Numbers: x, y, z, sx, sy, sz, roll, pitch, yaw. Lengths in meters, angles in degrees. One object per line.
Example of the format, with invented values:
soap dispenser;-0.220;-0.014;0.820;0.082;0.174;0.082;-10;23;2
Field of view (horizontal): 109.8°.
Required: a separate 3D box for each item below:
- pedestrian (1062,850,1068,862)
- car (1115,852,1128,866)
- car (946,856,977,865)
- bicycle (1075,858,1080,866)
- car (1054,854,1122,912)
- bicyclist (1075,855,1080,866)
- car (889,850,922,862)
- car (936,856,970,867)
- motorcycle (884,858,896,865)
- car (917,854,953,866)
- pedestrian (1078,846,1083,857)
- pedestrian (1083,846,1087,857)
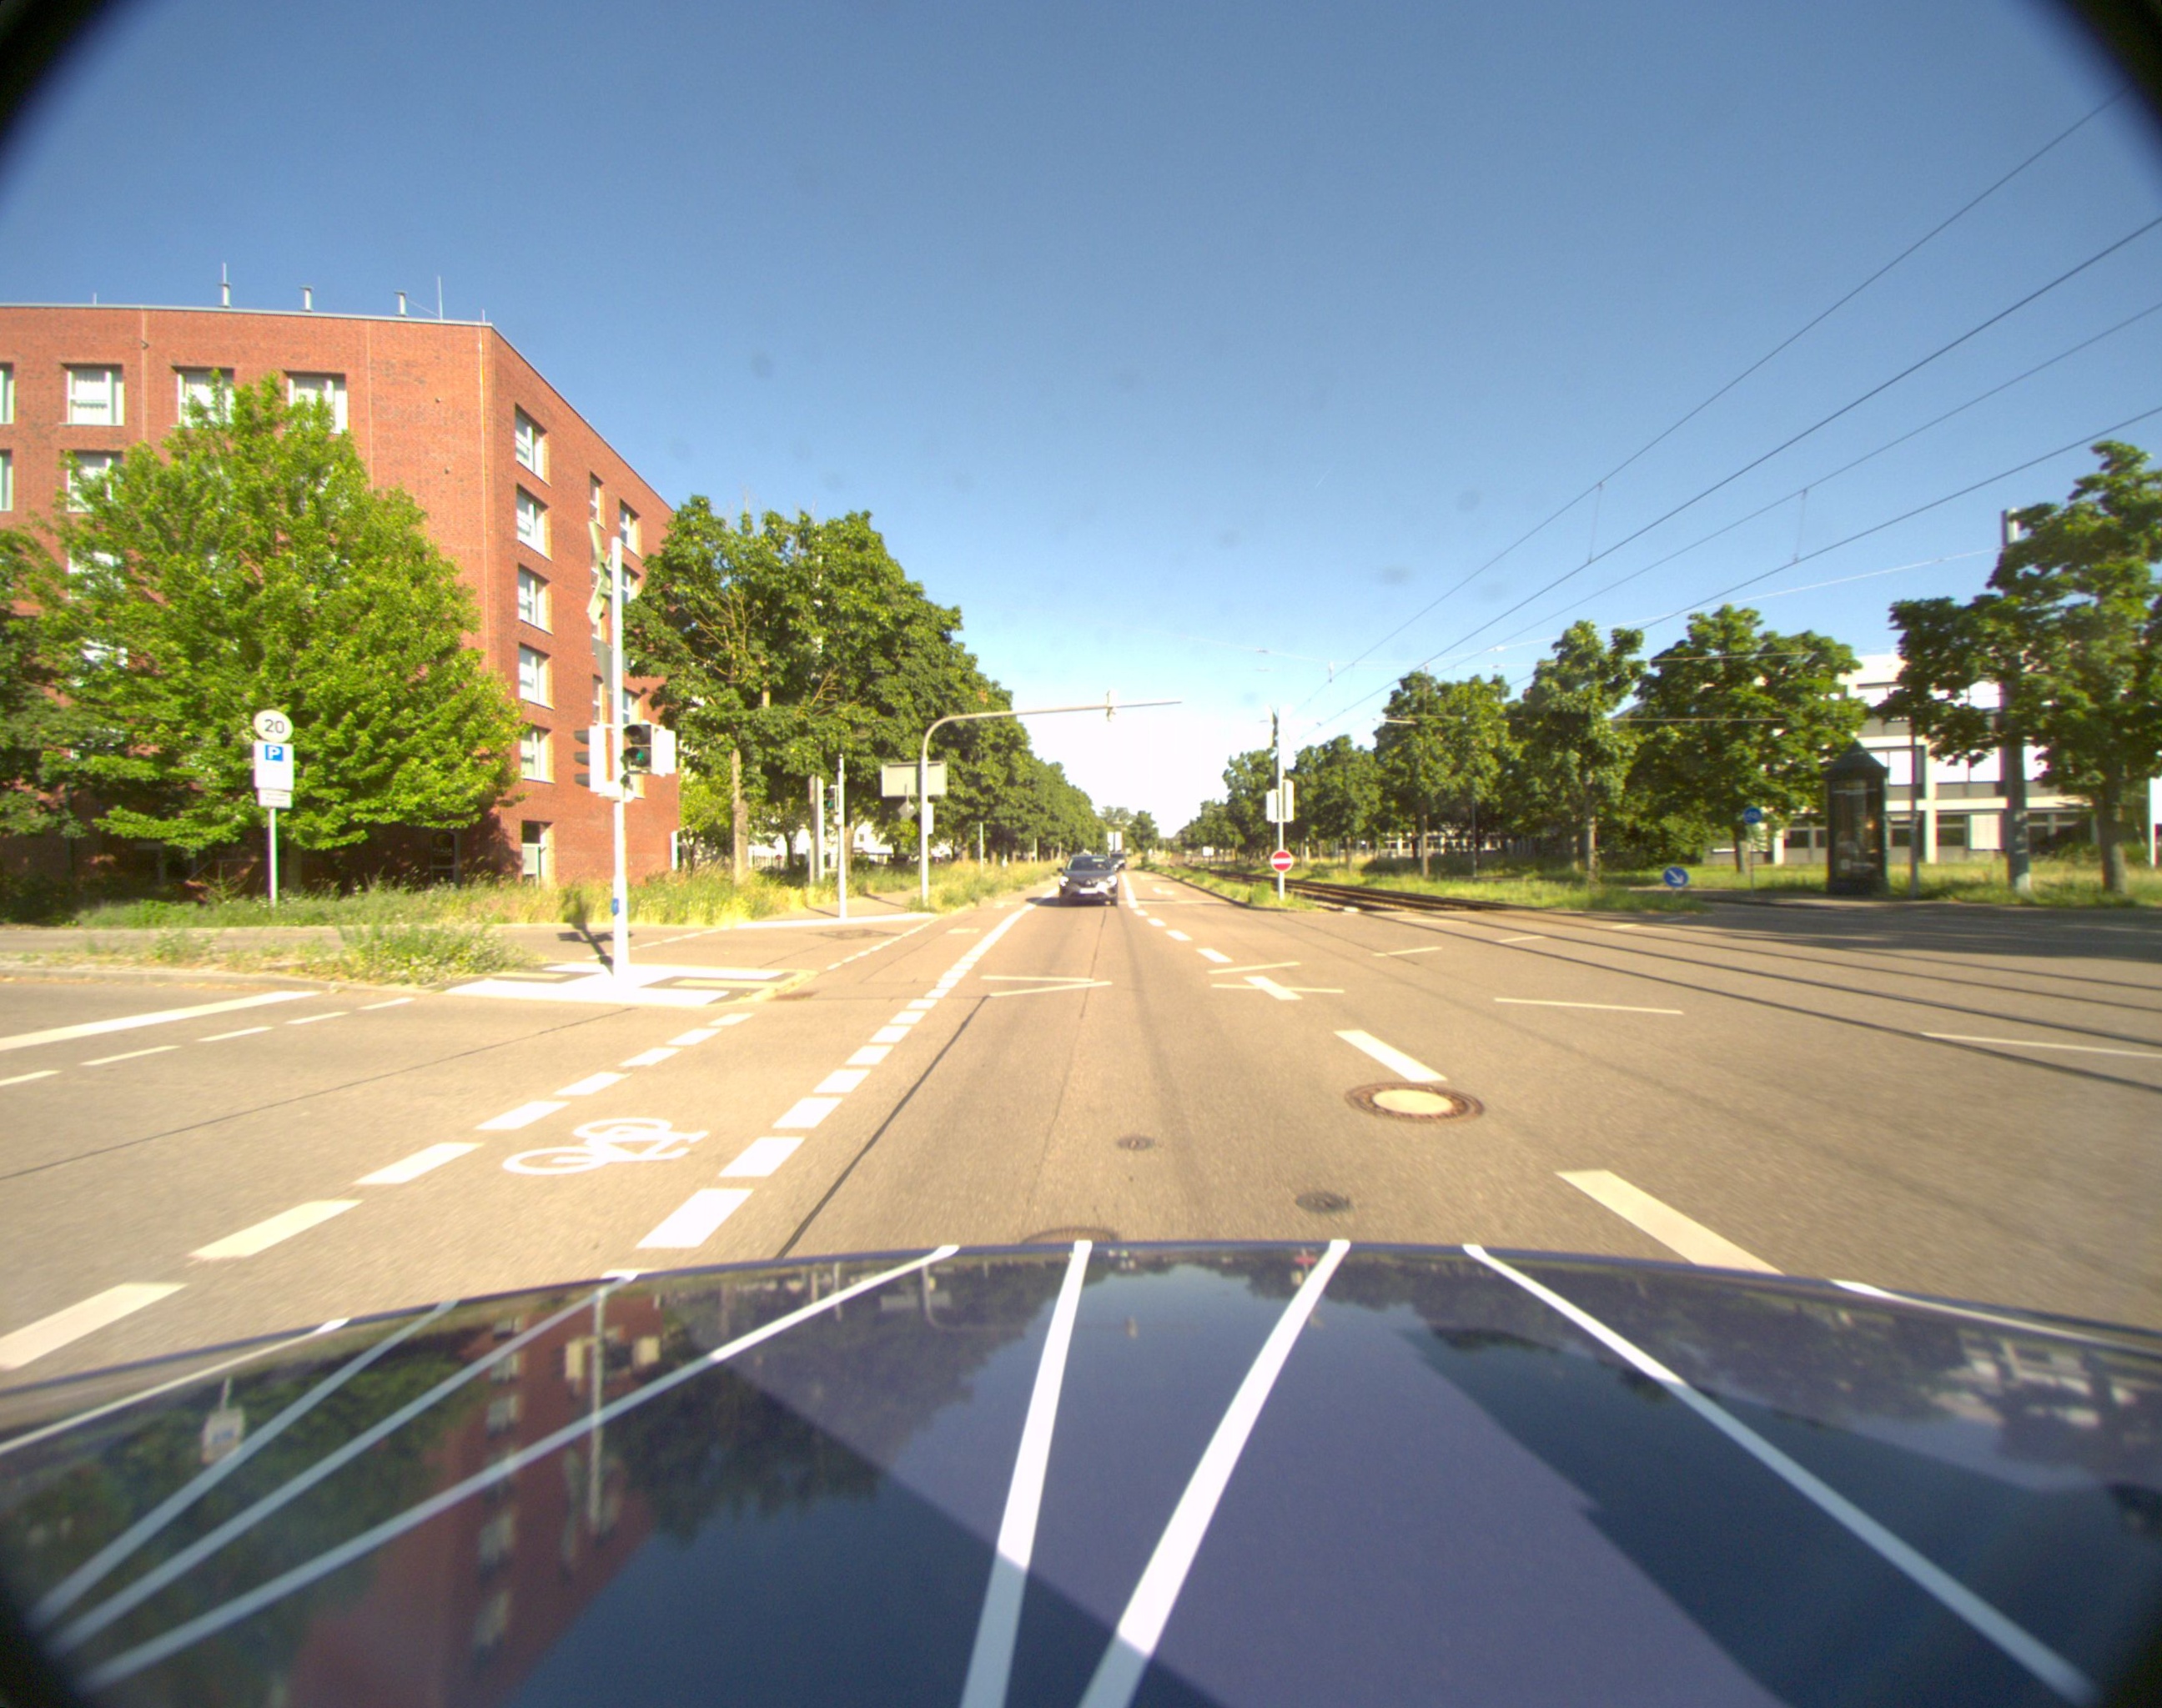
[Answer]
pedestrian;-2.246;0.293;107.101;0.826;1.560;0.762;-1;1;6
car;5.270;0.604;97.979;1.554;1.764;3.458;0;0;5
car;-18.046;0.981;114.877;4.300;1.316;1.942;0;-1;10
bicycle;-0.541;1.240;114.885;0.484;1.197;2.144;-1;1;5
car;0.315;0.818;23.577;1.749;1.585;4.248;-1;1;5
bicyclist;-0.548;0.962;115.027;0.684;1.710;0.903;0;1;5
car;-28.345;0.323;122.693;4.759;1.938;1.975;0;0;5
car;-17.324;0.955;102.875;4.173;1.423;1.826;-1;0;8
motorcycle;-28.423;1.090;113.285;1.652;0.965;0.538;0;0;5
car;-18.147;0.739;94.351;4.038;1.496;1.739;0;0;6
pedestrian;-0.112;-0.428;134.043;0.710;1.919;0.816;-1;1;-2
pedestrian;0.684;-0.505;133.845;0.710;1.906;0.816;-1;1;-2
